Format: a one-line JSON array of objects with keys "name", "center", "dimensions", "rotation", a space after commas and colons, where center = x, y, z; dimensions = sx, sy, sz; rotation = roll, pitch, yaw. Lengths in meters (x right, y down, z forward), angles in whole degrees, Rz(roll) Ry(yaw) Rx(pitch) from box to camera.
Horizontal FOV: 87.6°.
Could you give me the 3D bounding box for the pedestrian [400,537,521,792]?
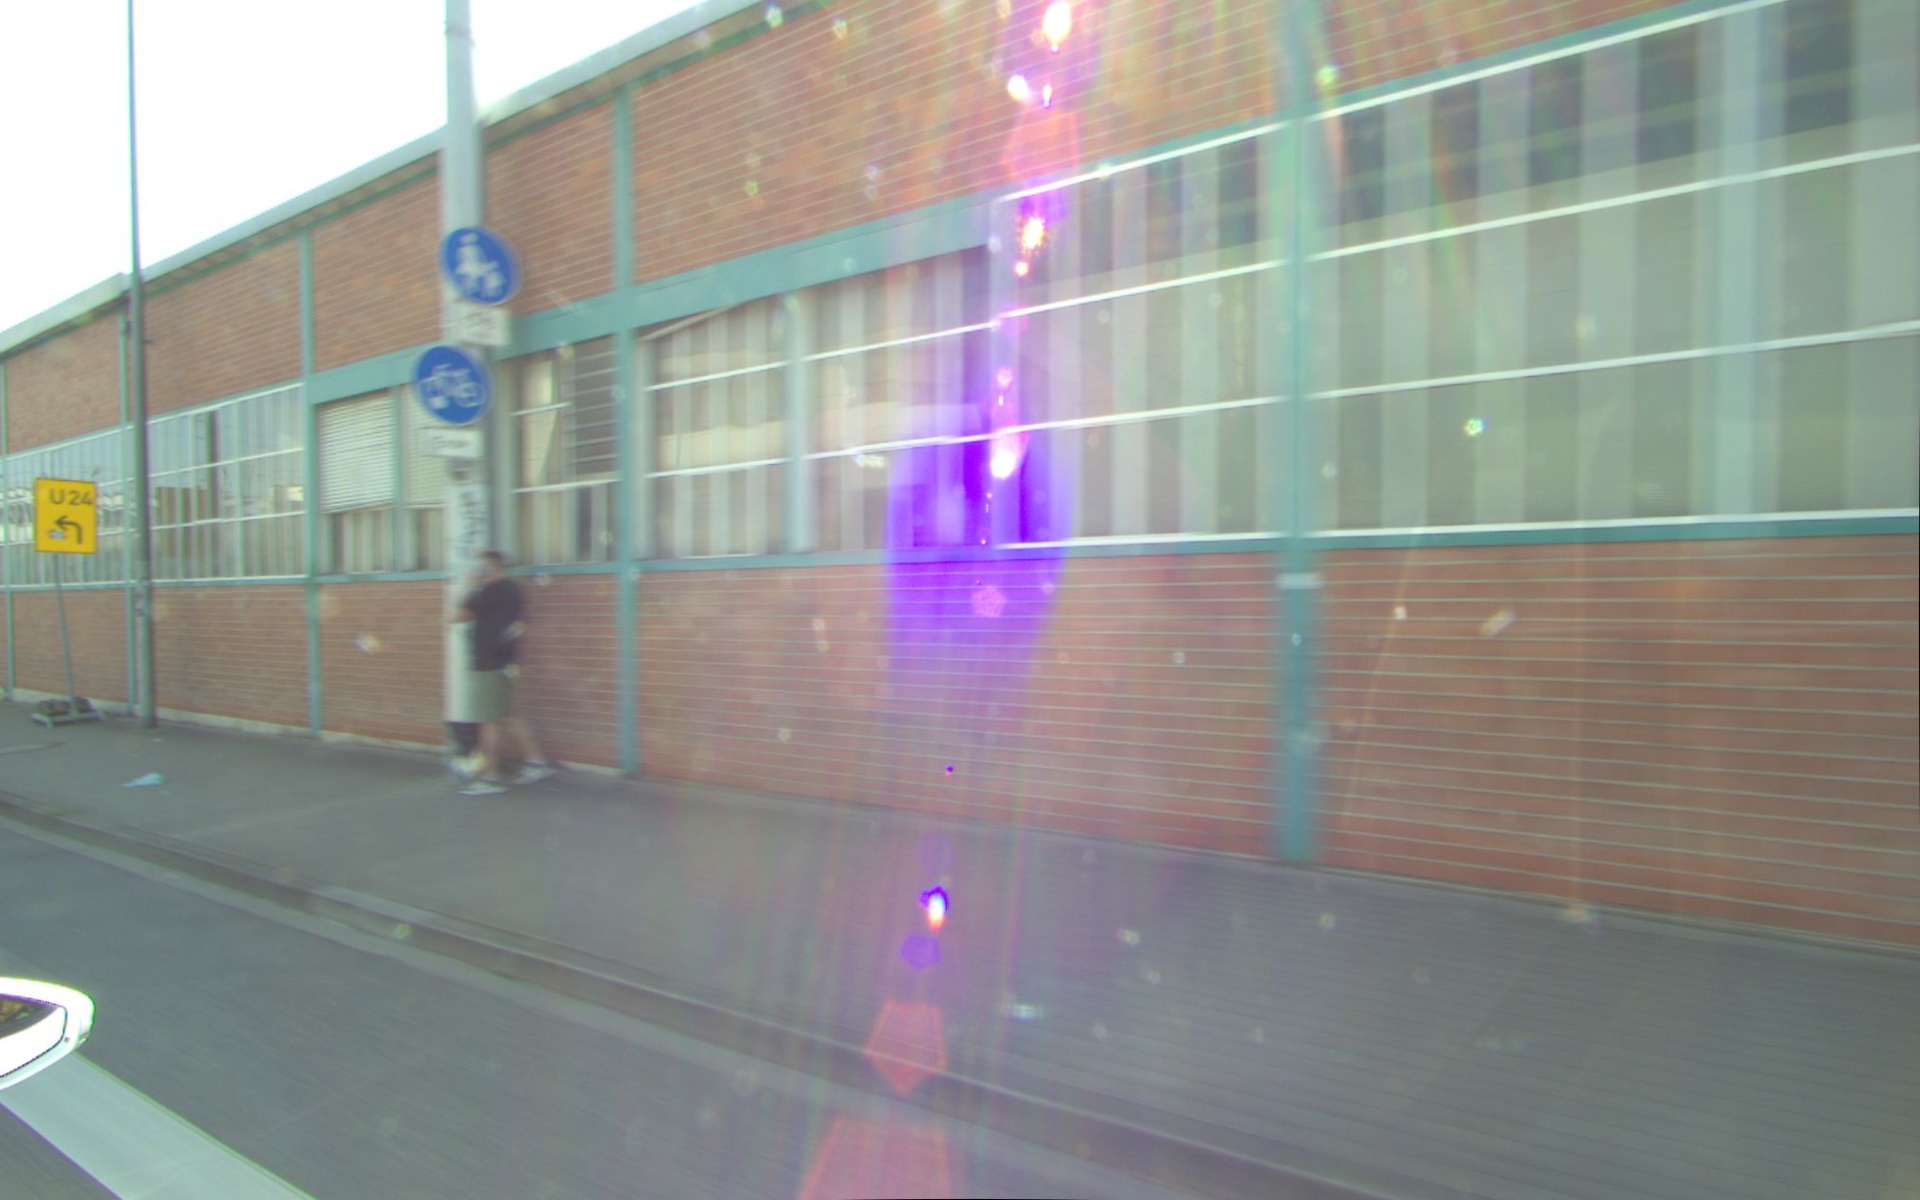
[{"name": "pedestrian", "center": [-3.638, 0.462, 7.322], "dimensions": [0.674, 1.789, 0.448], "rotation": [1, 2, -13]}]
